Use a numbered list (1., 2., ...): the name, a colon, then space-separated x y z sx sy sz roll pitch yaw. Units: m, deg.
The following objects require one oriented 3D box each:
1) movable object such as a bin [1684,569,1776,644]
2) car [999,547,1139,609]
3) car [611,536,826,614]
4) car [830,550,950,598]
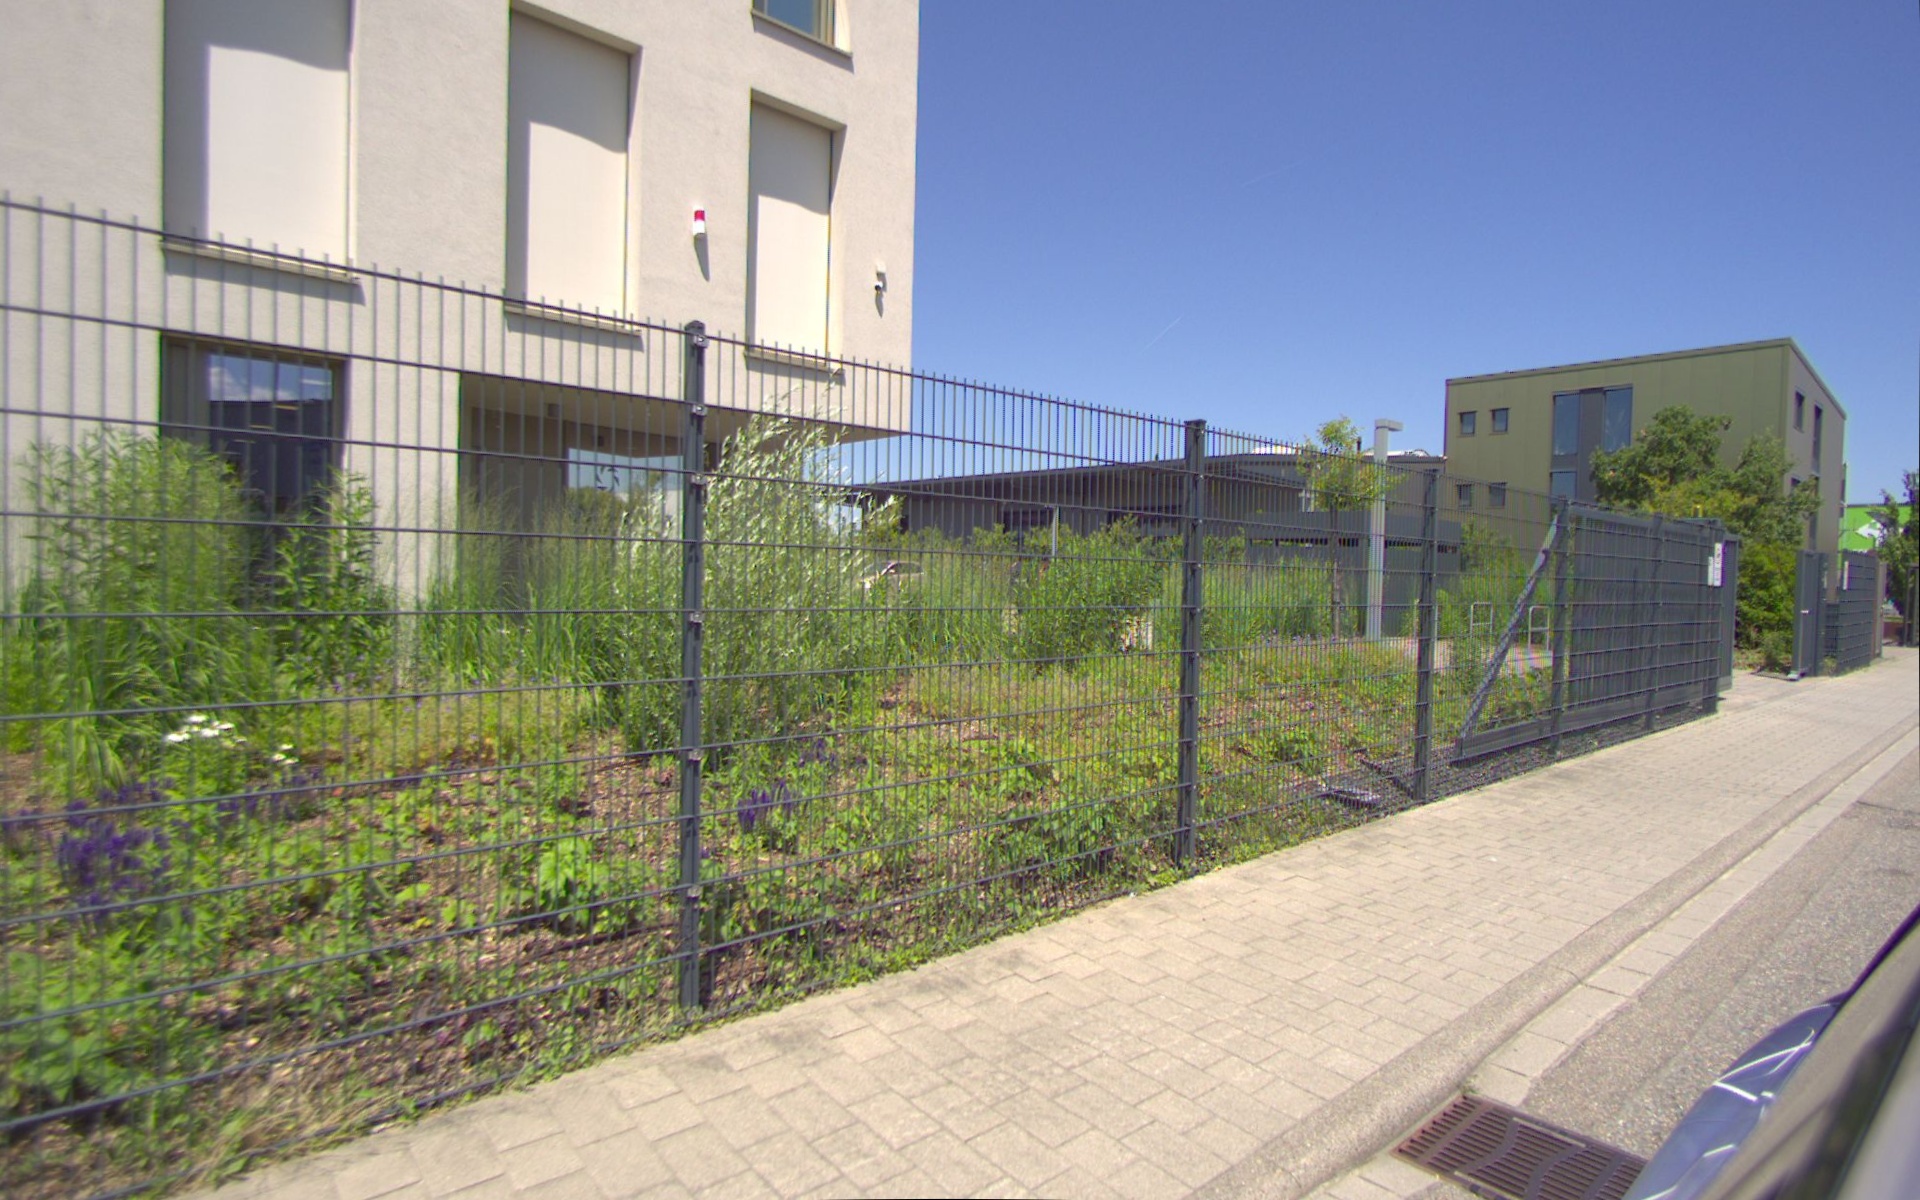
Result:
1. movable object such as a bin: 16.150 0.107 21.228 0.932 1.477 1.337 0 3 -41
2. car: 3.209 -0.653 29.521 3.930 1.694 1.870 0 3 -41
3. car: -5.550 -0.552 23.569 4.441 1.608 1.997 1 1 -42
4. car: -2.478 -0.917 36.067 3.930 1.579 1.870 0 3 -41
